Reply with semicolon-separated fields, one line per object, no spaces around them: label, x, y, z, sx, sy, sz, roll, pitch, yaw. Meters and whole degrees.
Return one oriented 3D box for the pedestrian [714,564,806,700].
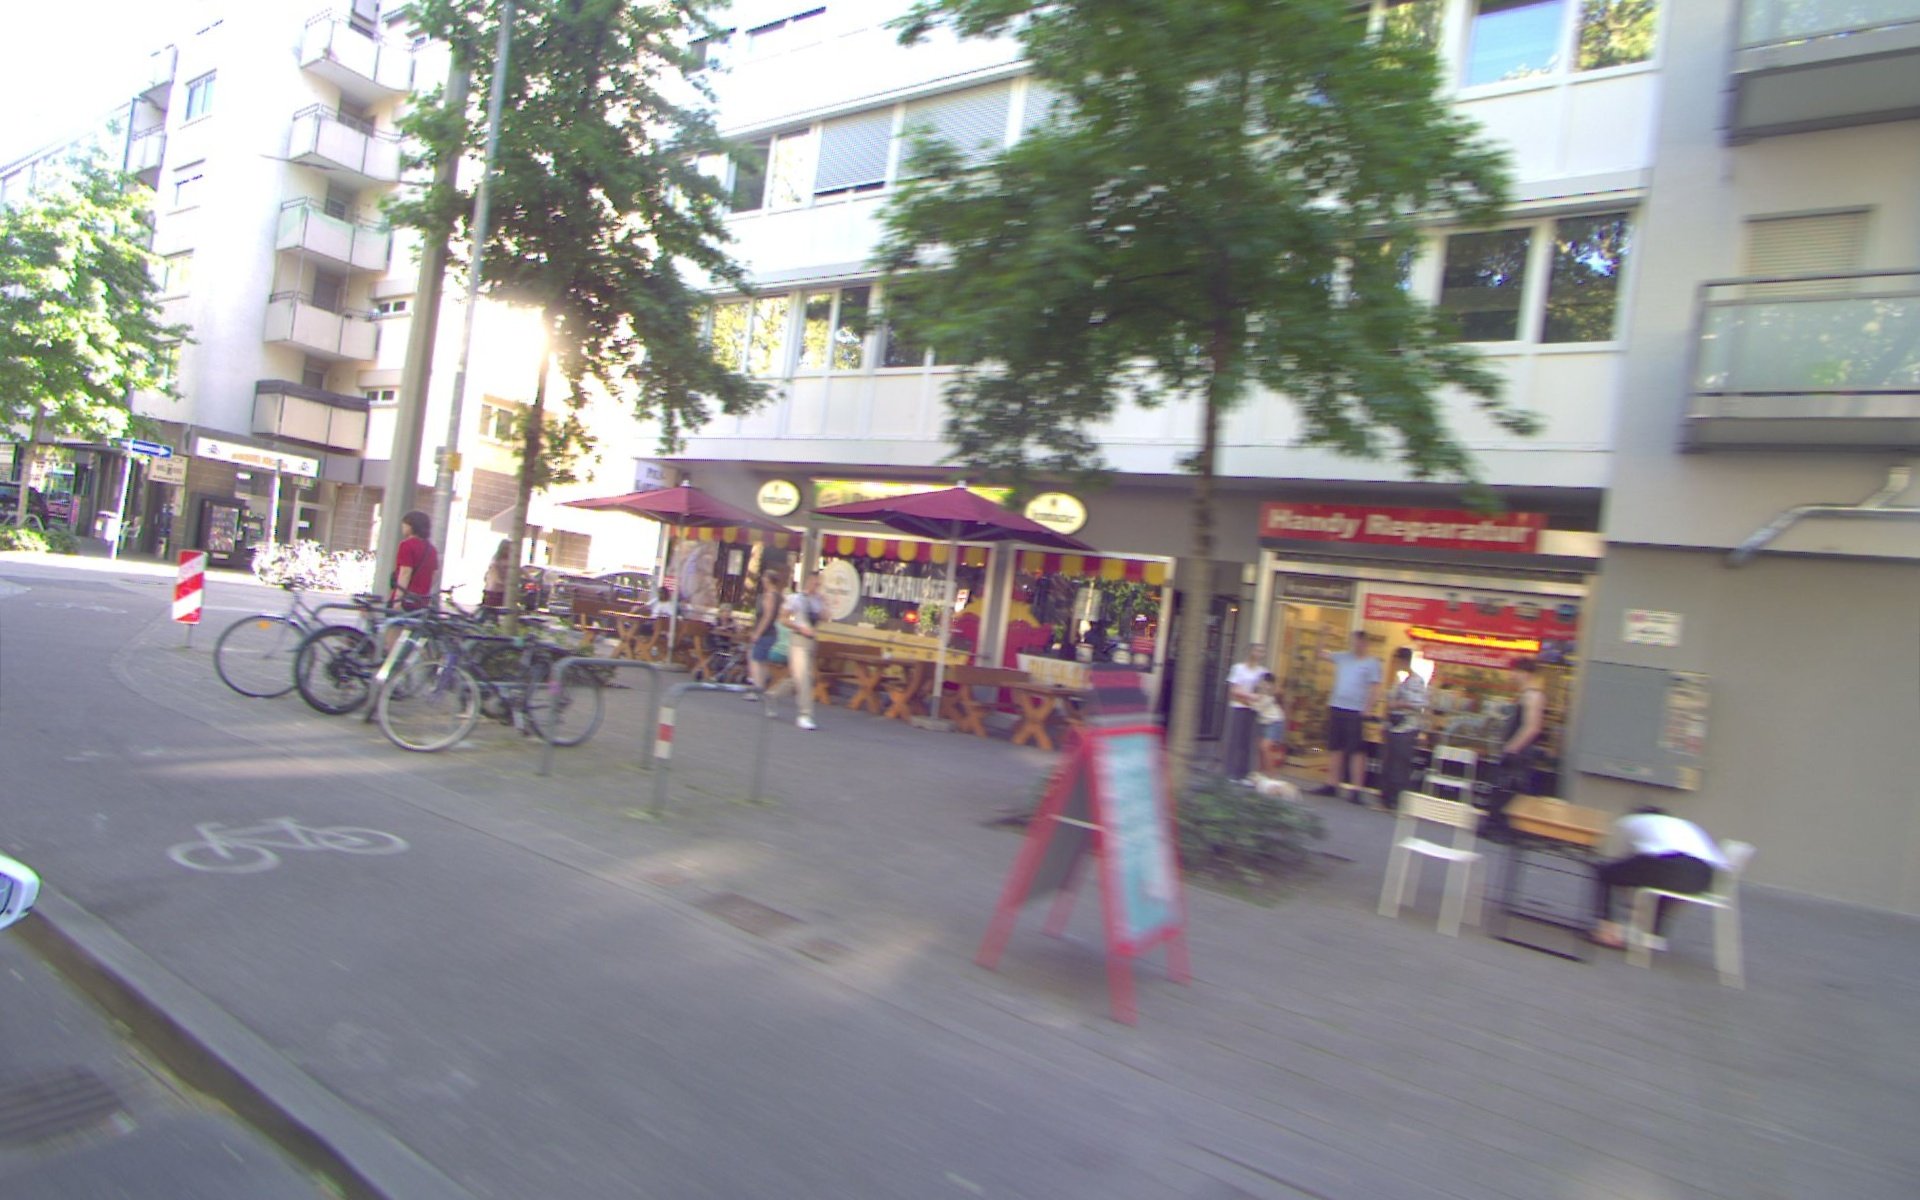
pedestrian;-2.678;0.436;13.522;0.799;1.678;0.680;7;-1;11

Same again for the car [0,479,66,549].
car;-26.252;-2.468;27.223;4.374;1.635;1.995;6;-1;34

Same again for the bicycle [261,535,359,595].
bicycle;-16.117;-0.848;25.006;0.502;1.222;1.917;9;0;30

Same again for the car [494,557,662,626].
car;-11.958;-0.218;31.763;1.841;1.495;4.589;10;0;35

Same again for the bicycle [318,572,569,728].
bicycle;-4.202;0.456;8.363;0.473;1.113;1.821;7;-2;26

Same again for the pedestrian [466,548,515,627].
pedestrian;-9.994;-0.272;21.421;0.635;1.579;0.551;6;-2;38

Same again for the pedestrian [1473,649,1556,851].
pedestrian;5.287;1.416;9.591;0.481;1.816;0.432;7;-1;33

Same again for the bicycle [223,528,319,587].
bicycle;-17.885;-1.087;26.155;0.502;1.221;1.919;7;-2;30

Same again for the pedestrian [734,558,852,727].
pedestrian;-1.925;0.491;11.590;0.979;1.804;0.591;7;-1;33

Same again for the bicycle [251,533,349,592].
bicycle;-16.555;-0.911;25.286;0.502;1.222;1.917;9;0;30

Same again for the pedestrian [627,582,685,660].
pedestrian;-5.516;0.385;18.284;0.704;1.302;0.536;7;-1;35

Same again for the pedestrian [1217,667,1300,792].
pedestrian;3.367;1.449;11.385;0.615;1.291;0.509;8;-1;-3

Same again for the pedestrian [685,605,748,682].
pedestrian;-3.765;0.674;15.580;0.513;1.091;0.643;7;-2;32

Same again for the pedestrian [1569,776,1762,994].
pedestrian;4.308;1.699;6.221;0.649;1.039;1.002;7;-2;21

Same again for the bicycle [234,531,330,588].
bicycle;-17.421;-1.027;25.908;0.502;1.222;1.917;8;0;30

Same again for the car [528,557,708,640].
car;-8.970;0.016;26.768;1.933;1.610;4.261;6;-3;28

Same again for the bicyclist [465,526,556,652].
bicyclist;-6.747;-0.168;15.100;0.950;1.737;0.677;7;-1;36

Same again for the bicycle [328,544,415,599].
bicycle;-16.037;-0.754;27.462;0.502;1.221;1.919;7;-2;30

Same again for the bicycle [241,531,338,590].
bicycle;-16.996;-0.982;25.562;0.502;1.222;1.918;8;-1;30

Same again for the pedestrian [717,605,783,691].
pedestrian;-3.140;0.721;15.060;0.513;1.188;0.660;7;-2;32

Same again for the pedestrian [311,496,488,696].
pedestrian;-5.551;-0.022;10.030;1.028;1.778;0.879;8;-1;1

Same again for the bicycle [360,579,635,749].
bicycle;-3.458;0.513;7.703;0.517;1.113;1.818;7;-1;33

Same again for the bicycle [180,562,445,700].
bicycle;-5.537;0.315;8.737;0.473;1.005;1.819;7;-2;31

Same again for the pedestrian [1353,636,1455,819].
pedestrian;4.715;1.333;10.708;0.518;1.826;0.630;8;-1;-13

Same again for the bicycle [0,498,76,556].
bicycle;-23.763;-1.894;25.313;0.672;1.201;2.125;6;-3;42

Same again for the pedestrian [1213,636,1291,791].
pedestrian;3.299;1.265;11.383;0.509;1.647;0.508;8;-1;-4

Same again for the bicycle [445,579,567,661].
bicycle;-6.833;0.282;15.105;1.991;0.974;0.677;6;-2;36

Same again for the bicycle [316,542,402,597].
bicycle;-16.590;-0.823;27.801;0.502;1.221;1.919;6;-3;30

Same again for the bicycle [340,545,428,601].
bicycle;-15.517;-0.717;27.158;0.502;1.221;1.918;9;-1;30

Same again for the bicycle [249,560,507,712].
bicycle;-4.831;0.355;8.512;0.489;1.113;1.821;7;-2;26

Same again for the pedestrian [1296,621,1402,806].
pedestrian;4.440;1.282;11.501;0.782;1.977;0.505;7;-2;43
